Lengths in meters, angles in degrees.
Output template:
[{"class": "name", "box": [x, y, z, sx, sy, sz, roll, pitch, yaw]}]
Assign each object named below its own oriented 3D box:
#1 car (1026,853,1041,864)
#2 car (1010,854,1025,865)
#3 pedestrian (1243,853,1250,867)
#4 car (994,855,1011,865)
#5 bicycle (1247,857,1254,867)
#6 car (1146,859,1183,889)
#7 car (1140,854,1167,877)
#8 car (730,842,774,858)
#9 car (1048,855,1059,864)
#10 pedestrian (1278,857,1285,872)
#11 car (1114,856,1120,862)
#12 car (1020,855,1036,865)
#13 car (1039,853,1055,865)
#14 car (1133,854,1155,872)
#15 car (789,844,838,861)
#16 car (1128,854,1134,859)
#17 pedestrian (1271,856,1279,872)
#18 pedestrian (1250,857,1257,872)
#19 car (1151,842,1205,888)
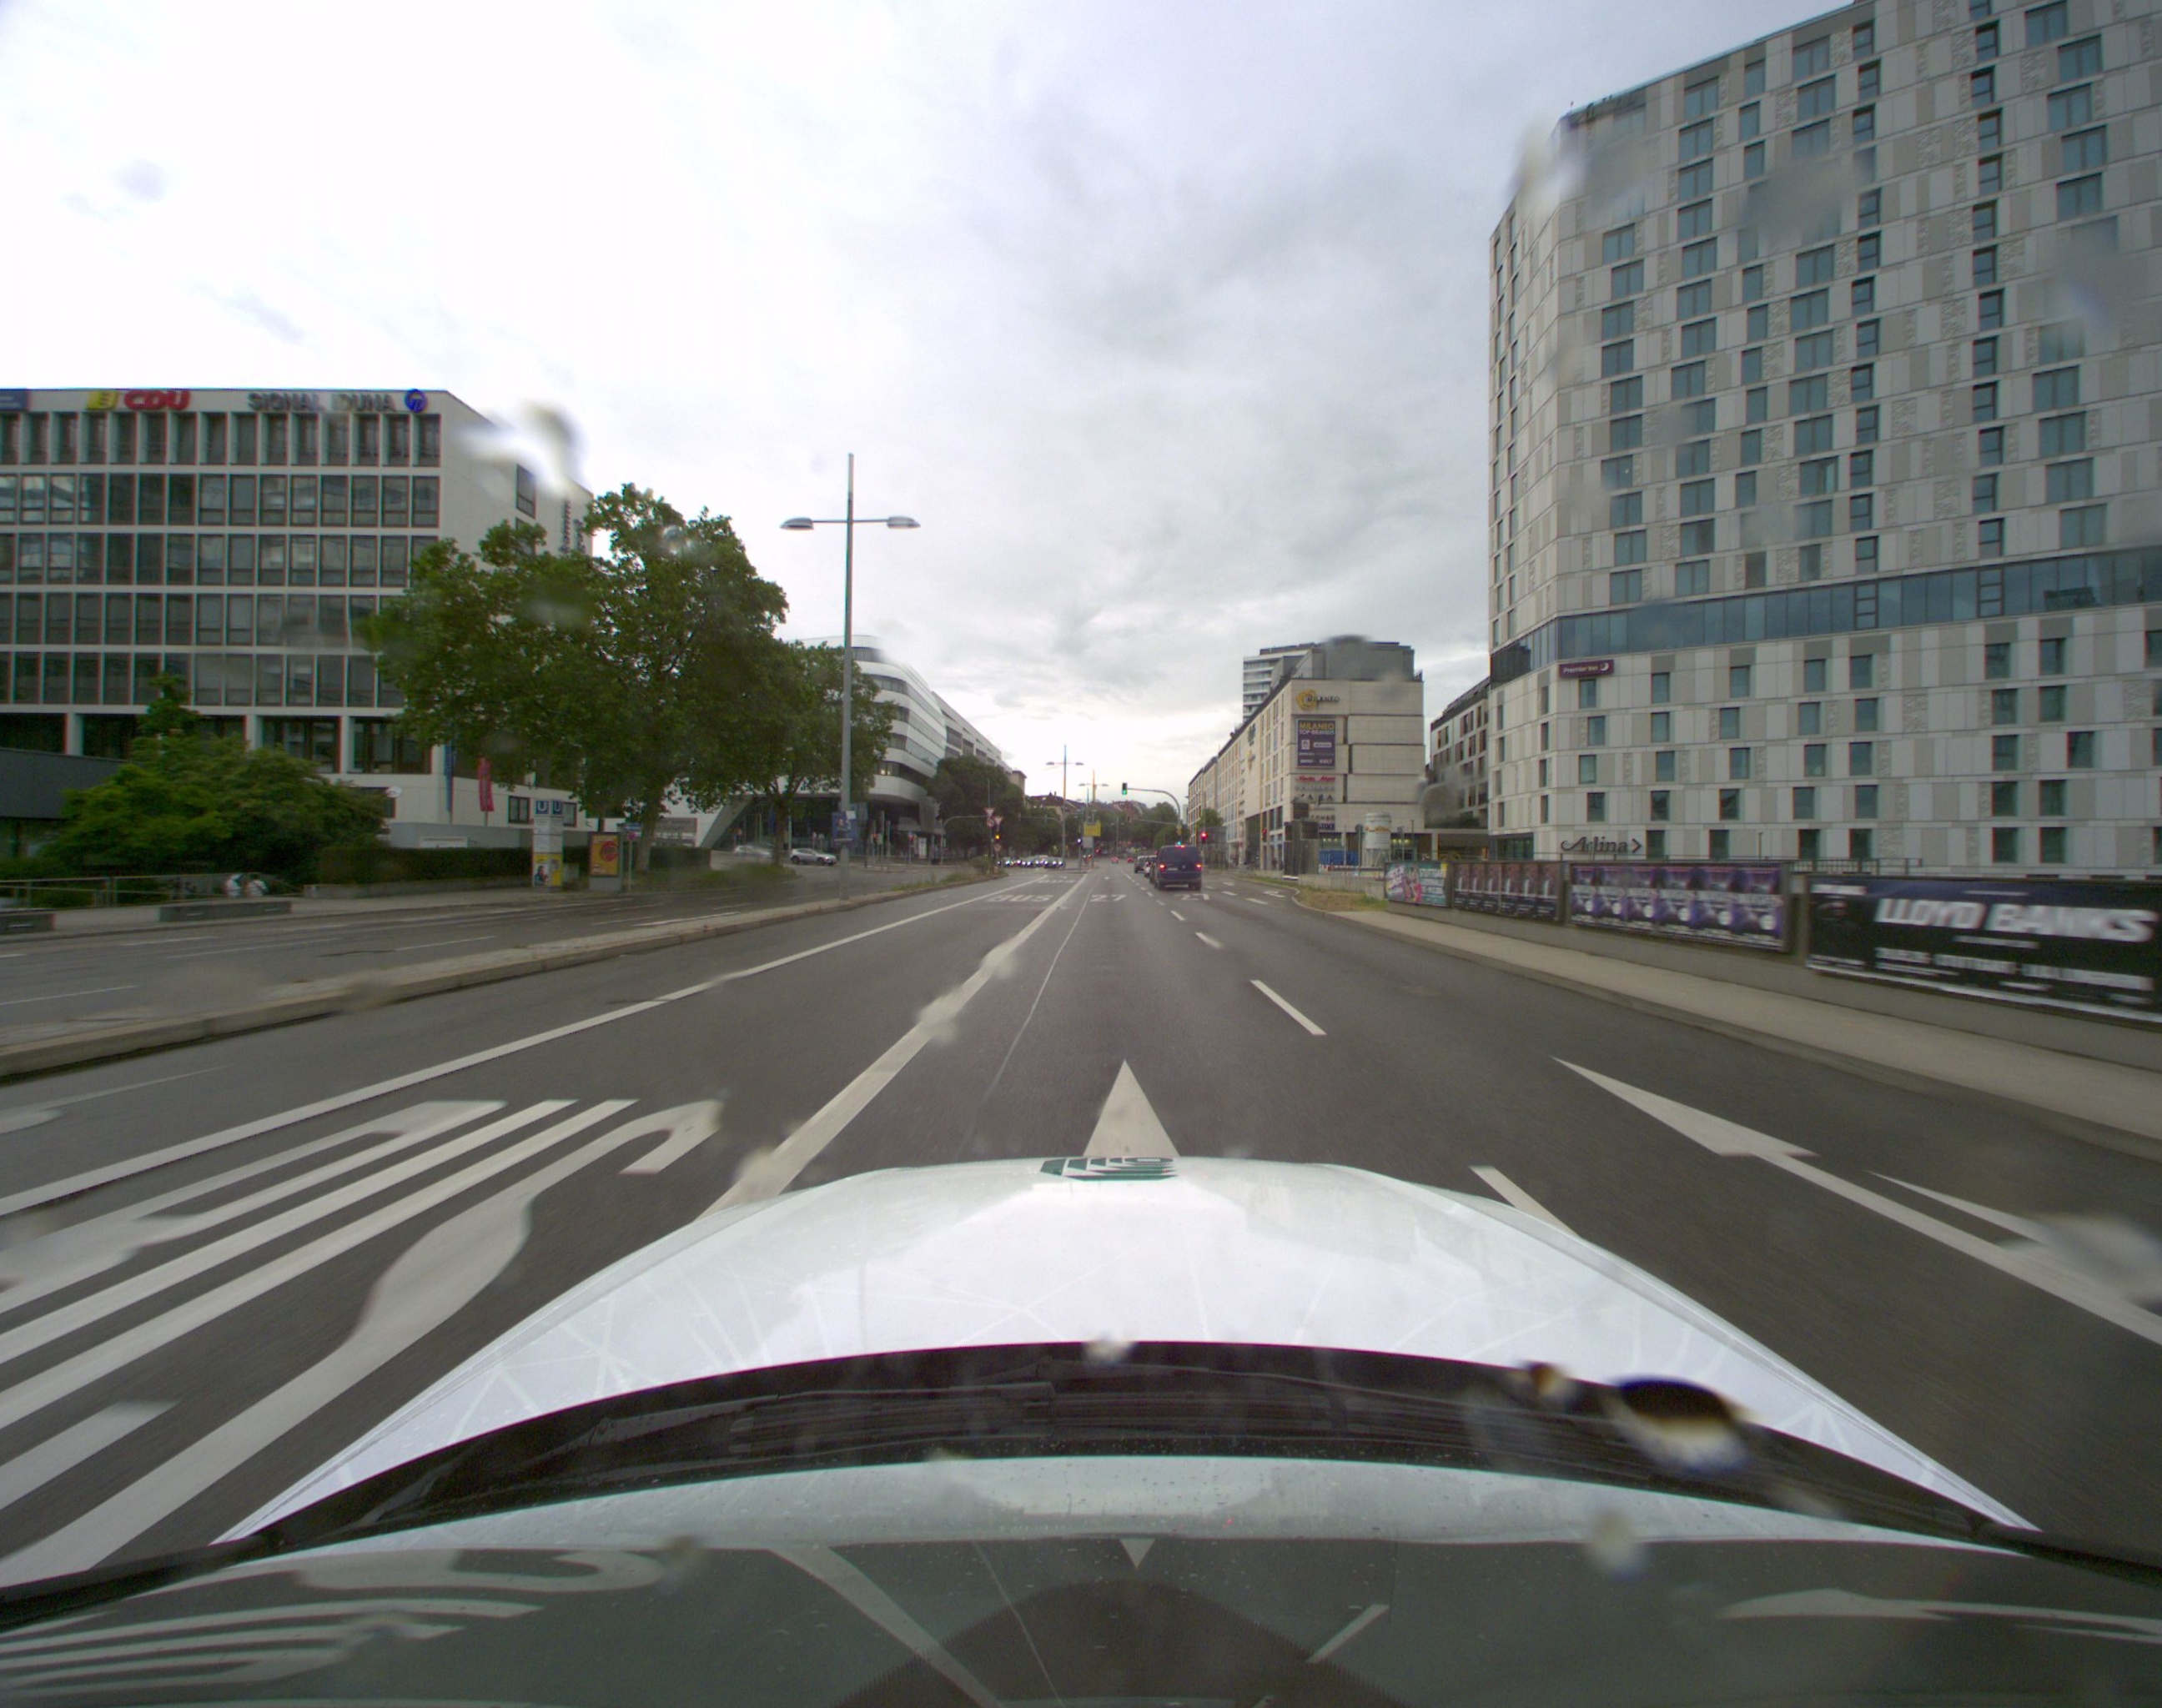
[{"class": "car", "box": [-6.746, 0.599, 116.607, 1.736, 1.559, 3.541, 0, -1, 2]}, {"class": "car", "box": [-9.482, 0.819, 122.100, 1.736, 1.559, 3.541, 0, -1, 2]}, {"class": "pedestrian", "box": [18.272, 0.670, 90.151, 0.610, 1.611, 0.819, 0, -1, 2]}, {"class": "car", "box": [-10.428, 0.799, 108.391, 1.736, 1.328, 4.228, 0, -1, 2]}, {"class": "bicycle", "box": [18.776, 0.900, 90.197, 0.447, 1.016, 1.743, 0, -1, 2]}, {"class": "car", "box": [4.616, 1.071, 45.523, 1.784, 1.506, 4.341, 0, 0, 2]}, {"class": "car", "box": [5.108, 0.828, 57.935, 1.717, 1.531, 3.816, 0, -1, 2]}, {"class": "car", "box": [-34.315, -0.418, 84.905, 3.955, 1.631, 1.903, -1, -1, 18]}, {"class": "car", "box": [-5.297, 1.099, 157.007, 1.736, 1.748, 3.541, 0, -1, 2]}, {"class": "pedestrian", "box": [21.795, 1.129, 88.548, 0.588, 1.642, 0.591, -1, -1, 27]}, {"class": "car", "box": [10.290, 1.501, 234.154, 1.733, 1.531, 3.815, 0, 0, 1]}, {"class": "car", "box": [-7.044, 0.760, 109.278, 1.736, 1.257, 3.542, 1, 0, 2]}, {"class": "car", "box": [-4.494, 0.684, 107.914, 1.736, 1.444, 3.396, 0, -1, 2]}, {"class": "car", "box": [5.542, 0.812, 71.880, 1.733, 1.531, 3.816, 0, -1, 2]}, {"class": "car", "box": [-26.951, -0.179, 82.107, 4.465, 1.631, 1.903, -1, -1, 18]}, {"class": "car", "box": [15.205, 0.840, 246.720, 1.733, 1.531, 3.816, 0, -1, 2]}, {"class": "pedestrian", "box": [19.978, 1.049, 83.859, 0.619, 1.672, 0.824, 0, -1, 2]}, {"class": "pedestrian", "box": [19.082, 1.159, 90.106, 0.548, 1.611, 0.698, 0, -1, 2]}, {"class": "car", "box": [4.383, 0.429, 37.359, 2.025, 1.882, 5.046, -3, 1, 3]}]
